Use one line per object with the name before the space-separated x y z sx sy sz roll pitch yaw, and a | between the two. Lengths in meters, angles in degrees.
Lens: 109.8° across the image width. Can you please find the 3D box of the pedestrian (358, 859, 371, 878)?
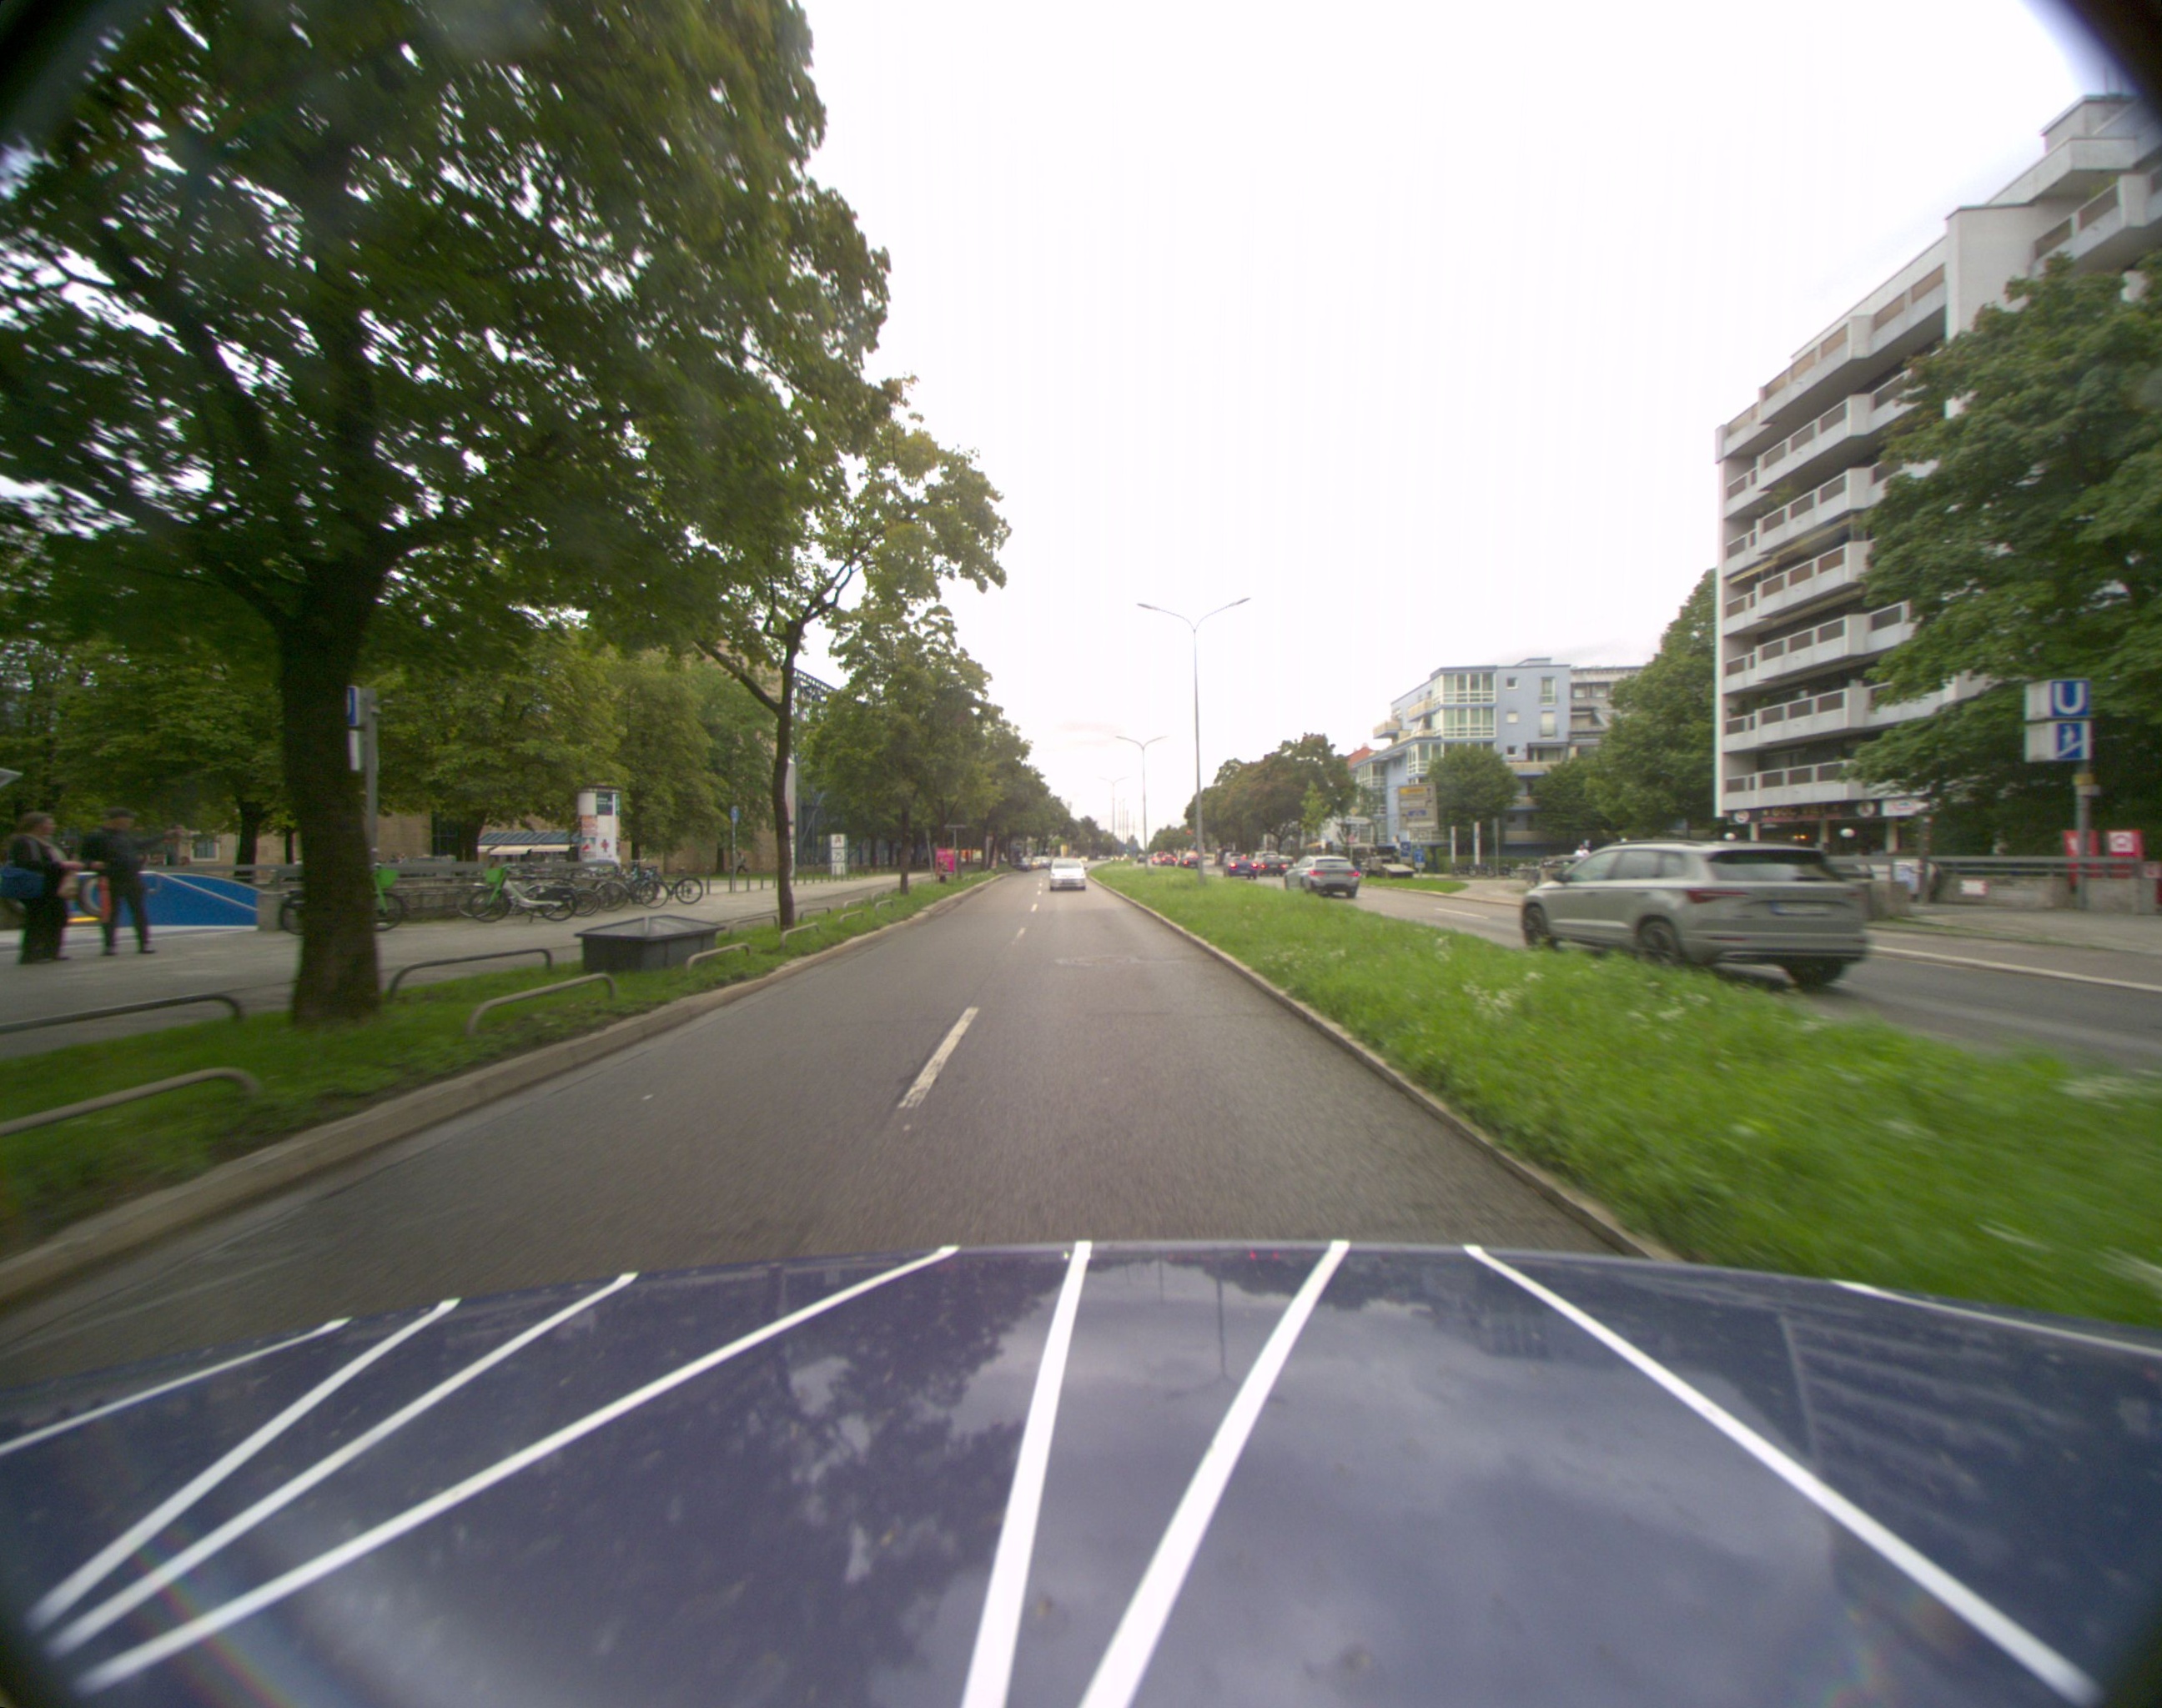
pedestrian | -48.079 0.970 50.980 0.420 1.275 0.513 0 1 -11

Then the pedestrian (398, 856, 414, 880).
pedestrian | -45.751 0.940 51.500 0.563 1.668 0.593 0 1 2

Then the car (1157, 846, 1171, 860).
car | 12.702 -0.171 116.432 1.944 1.986 4.705 0 0 5

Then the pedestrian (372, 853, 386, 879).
pedestrian | -46.122 0.778 49.913 0.594 1.668 0.502 -1 1 -35

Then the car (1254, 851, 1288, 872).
car | 13.975 0.518 55.959 1.695 1.475 3.968 -1 0 3

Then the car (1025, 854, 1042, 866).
car | -5.739 0.705 92.185 1.626 1.373 4.195 0 0 2

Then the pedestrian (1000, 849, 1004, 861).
pedestrian | -12.032 0.156 115.388 0.528 1.713 0.660 1 2 -1

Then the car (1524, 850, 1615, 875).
car | 34.328 0.574 53.516 5.113 1.672 2.000 0 0 3

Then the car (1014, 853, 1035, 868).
car | -6.130 0.656 82.588 1.865 1.581 4.603 0 0 1

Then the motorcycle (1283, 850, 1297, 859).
motorcycle | 28.909 0.060 105.184 1.813 1.164 0.464 0 1 0

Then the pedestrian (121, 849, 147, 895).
pedestrian | -31.160 0.585 25.005 0.384 1.483 0.394 0 1 11

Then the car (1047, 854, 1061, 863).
car | -4.026 0.610 113.015 1.589 1.310 3.735 0 0 5

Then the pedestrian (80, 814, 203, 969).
pedestrian | -11.907 0.458 9.648 0.652 1.888 0.750 0 1 13

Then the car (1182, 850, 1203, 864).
car | 11.682 0.301 79.924 1.786 1.397 4.102 0 0 2

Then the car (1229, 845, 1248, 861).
car | 19.894 -0.088 96.008 1.800 1.986 4.547 0 0 5

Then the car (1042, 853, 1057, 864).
car | -4.502 0.573 107.522 1.682 1.497 3.735 0 0 5

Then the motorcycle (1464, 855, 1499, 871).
motorcycle | 28.739 0.646 54.529 0.499 1.126 2.473 0 1 -23

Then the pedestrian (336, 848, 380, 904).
pedestrian | -23.254 0.697 24.450 0.687 1.762 0.770 0 1 14

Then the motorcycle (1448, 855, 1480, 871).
motorcycle | 27.539 0.648 54.691 0.499 1.126 2.474 0 1 -18

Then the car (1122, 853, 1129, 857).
car | 11.869 0.249 201.918 1.589 1.259 3.735 0 0 5

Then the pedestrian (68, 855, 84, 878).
pedestrian | -70.367 0.864 53.189 0.419 1.560 0.515 0 1 14

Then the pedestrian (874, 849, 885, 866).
pedestrian | -19.864 0.320 75.053 0.738 1.636 0.863 2 2 12

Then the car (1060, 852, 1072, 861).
car | -2.551 0.421 129.382 1.589 1.495 3.735 0 0 5

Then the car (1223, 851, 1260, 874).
car | 10.151 0.508 48.272 1.695 1.394 3.968 0 0 3

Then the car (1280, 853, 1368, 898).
car | 8.683 0.698 27.582 1.919 1.476 4.866 0 0 3

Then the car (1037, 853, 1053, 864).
car | -4.871 0.584 102.569 1.682 1.522 4.097 0 0 5

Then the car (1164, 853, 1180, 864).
car | 11.906 0.575 99.456 1.961 1.471 4.260 0 0 5

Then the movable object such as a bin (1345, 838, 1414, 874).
movable object such as a bin | 16.711 0.114 42.733 2.199 1.941 3.999 0 0 -2

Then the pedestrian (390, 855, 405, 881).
pedestrian | -45.508 0.935 50.604 0.502 1.668 0.594 0 1 24

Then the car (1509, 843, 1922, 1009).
car | 7.395 0.686 9.589 1.770 1.615 4.377 0 0 4

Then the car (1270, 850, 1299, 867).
car | 17.619 0.364 66.005 1.651 1.480 3.902 0 0 2

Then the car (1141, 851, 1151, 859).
car | 11.567 0.102 136.172 1.761 1.440 3.673 0 0 5

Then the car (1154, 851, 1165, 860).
car | 13.020 0.309 125.778 1.795 1.440 3.673 0 0 5

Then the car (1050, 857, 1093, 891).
car | -0.379 0.890 35.358 1.679 1.434 3.735 0 0 5

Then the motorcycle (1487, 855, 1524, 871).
motorcycle | 30.258 0.642 54.237 0.499 1.126 2.473 0 1 -25

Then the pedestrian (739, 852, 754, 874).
pedestrian | -25.552 0.673 58.034 0.571 1.636 0.881 1 1 35

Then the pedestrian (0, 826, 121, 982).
pedestrian | -11.852 0.543 8.739 0.783 1.704 0.751 0 1 18

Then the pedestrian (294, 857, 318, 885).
pedestrian | -47.906 1.038 46.972 0.588 1.668 0.866 0 1 3
